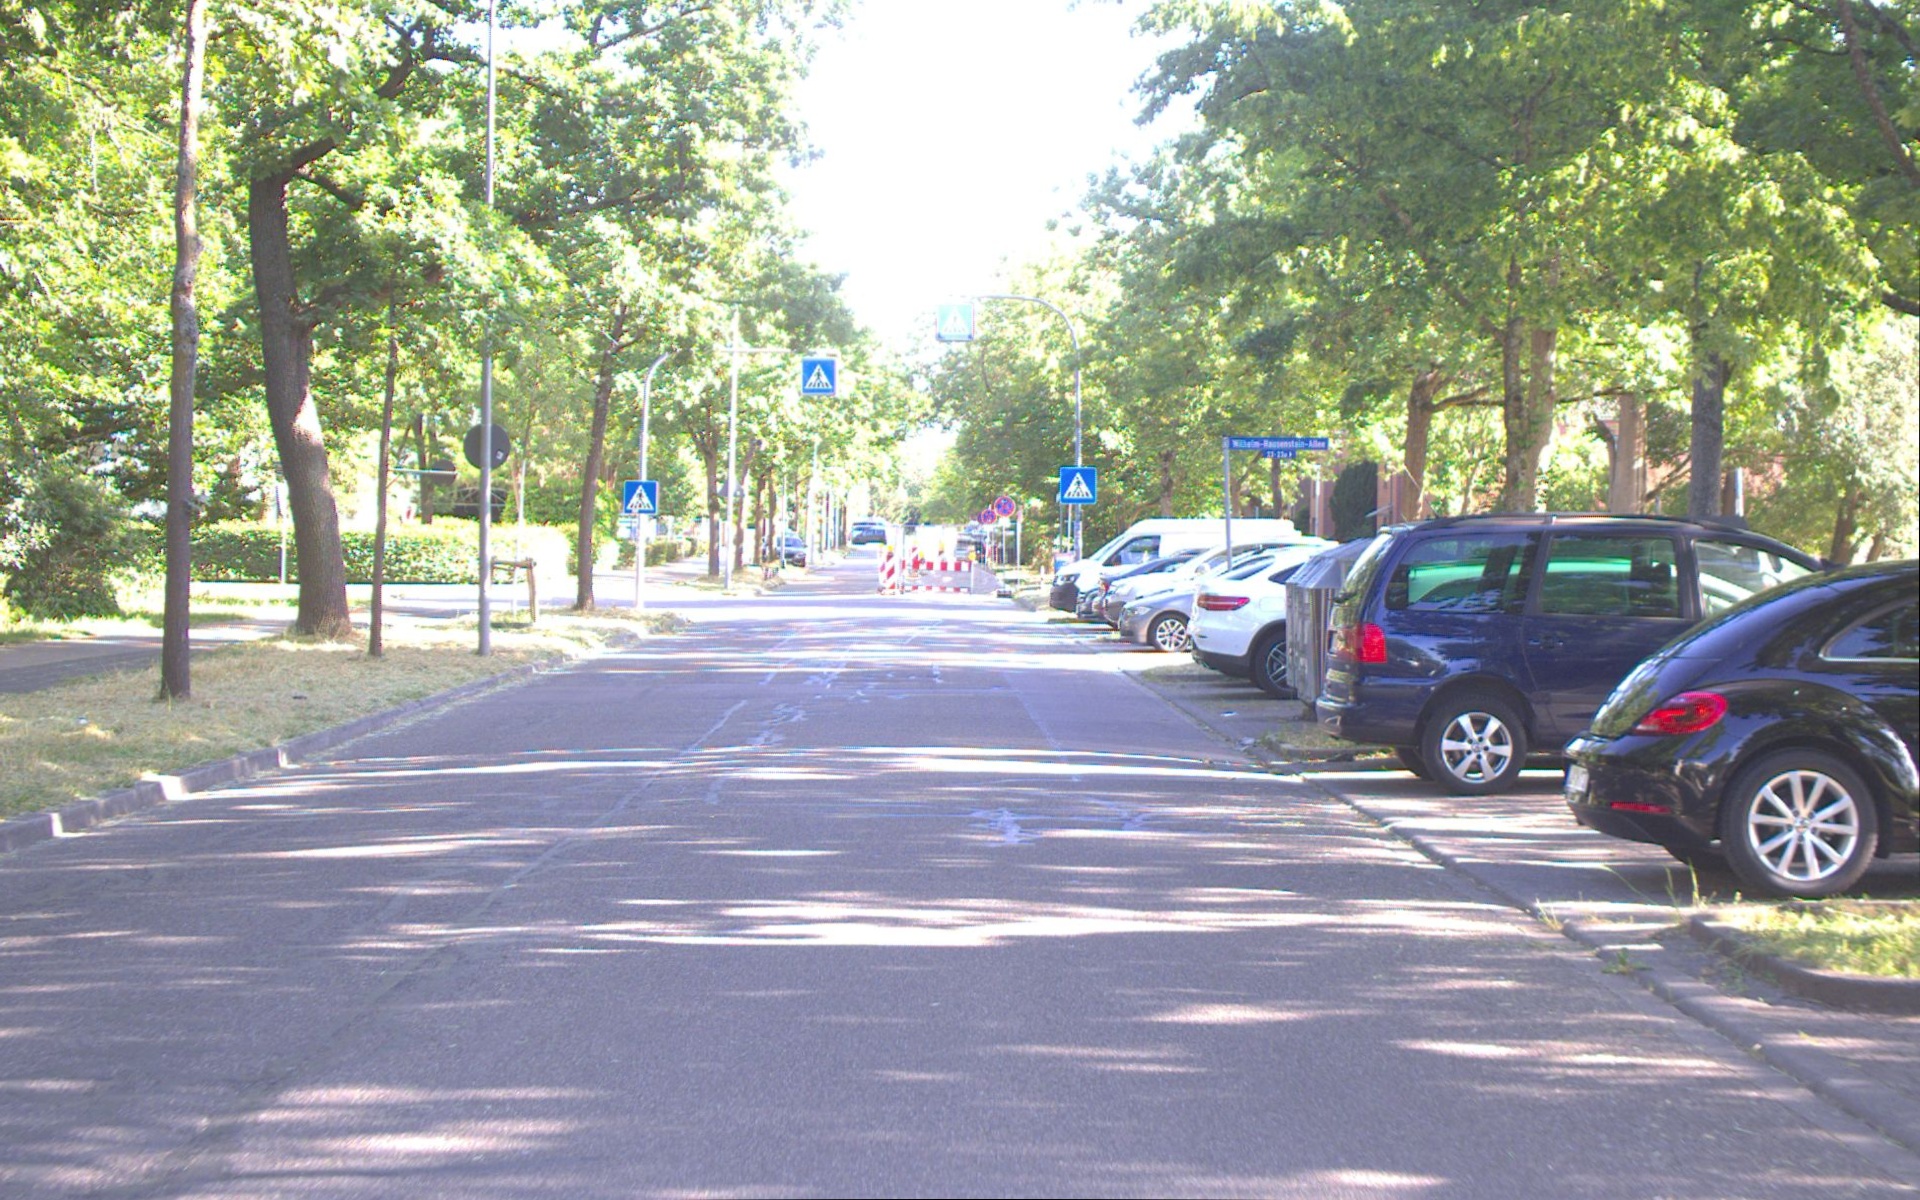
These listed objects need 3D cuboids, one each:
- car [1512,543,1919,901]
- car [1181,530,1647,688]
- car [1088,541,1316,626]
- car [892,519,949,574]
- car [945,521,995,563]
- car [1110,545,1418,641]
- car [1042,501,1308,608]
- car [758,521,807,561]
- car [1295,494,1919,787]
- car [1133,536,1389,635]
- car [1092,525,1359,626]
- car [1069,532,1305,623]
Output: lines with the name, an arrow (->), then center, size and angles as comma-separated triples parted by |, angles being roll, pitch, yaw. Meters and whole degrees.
car -> 4.791, 0.497, 15.638 | 4.245, 1.514, 2.078 | 0, 1, 1
car -> 4.744, 0.074, 36.402 | 4.670, 1.575, 1.917 | -1, 1, 0
car -> 4.326, -0.308, 61.896 | 3.987, 1.428, 1.901 | 1, 1, 1
car -> -1.450, -1.955, 125.408 | 1.993, 1.926, 4.000 | 2, 1, -1
car -> 0.407, -2.487, 146.425 | 1.993, 1.711, 4.000 | 2, 1, -1
car -> 4.531, -0.118, 51.756 | 4.445, 1.385, 1.911 | 0, 1, 0
car -> 4.311, -0.923, 69.663 | 5.187, 2.098, 2.083 | 0, 1, -2
car -> -7.847, -2.628, 152.543 | 1.993, 1.711, 4.000 | 2, 1, -1
car -> 4.530, 0.232, 22.270 | 4.530, 1.795, 1.936 | 0, 1, 0
car -> 4.768, -0.243, 54.758 | 3.884, 1.492, 1.777 | -1, 1, -1
car -> 4.551, -0.440, 59.358 | 4.384, 1.645, 1.851 | -1, 1, -2
car -> 4.226, -0.435, 64.495 | 4.212, 1.563, 1.934 | 1, 1, -2
